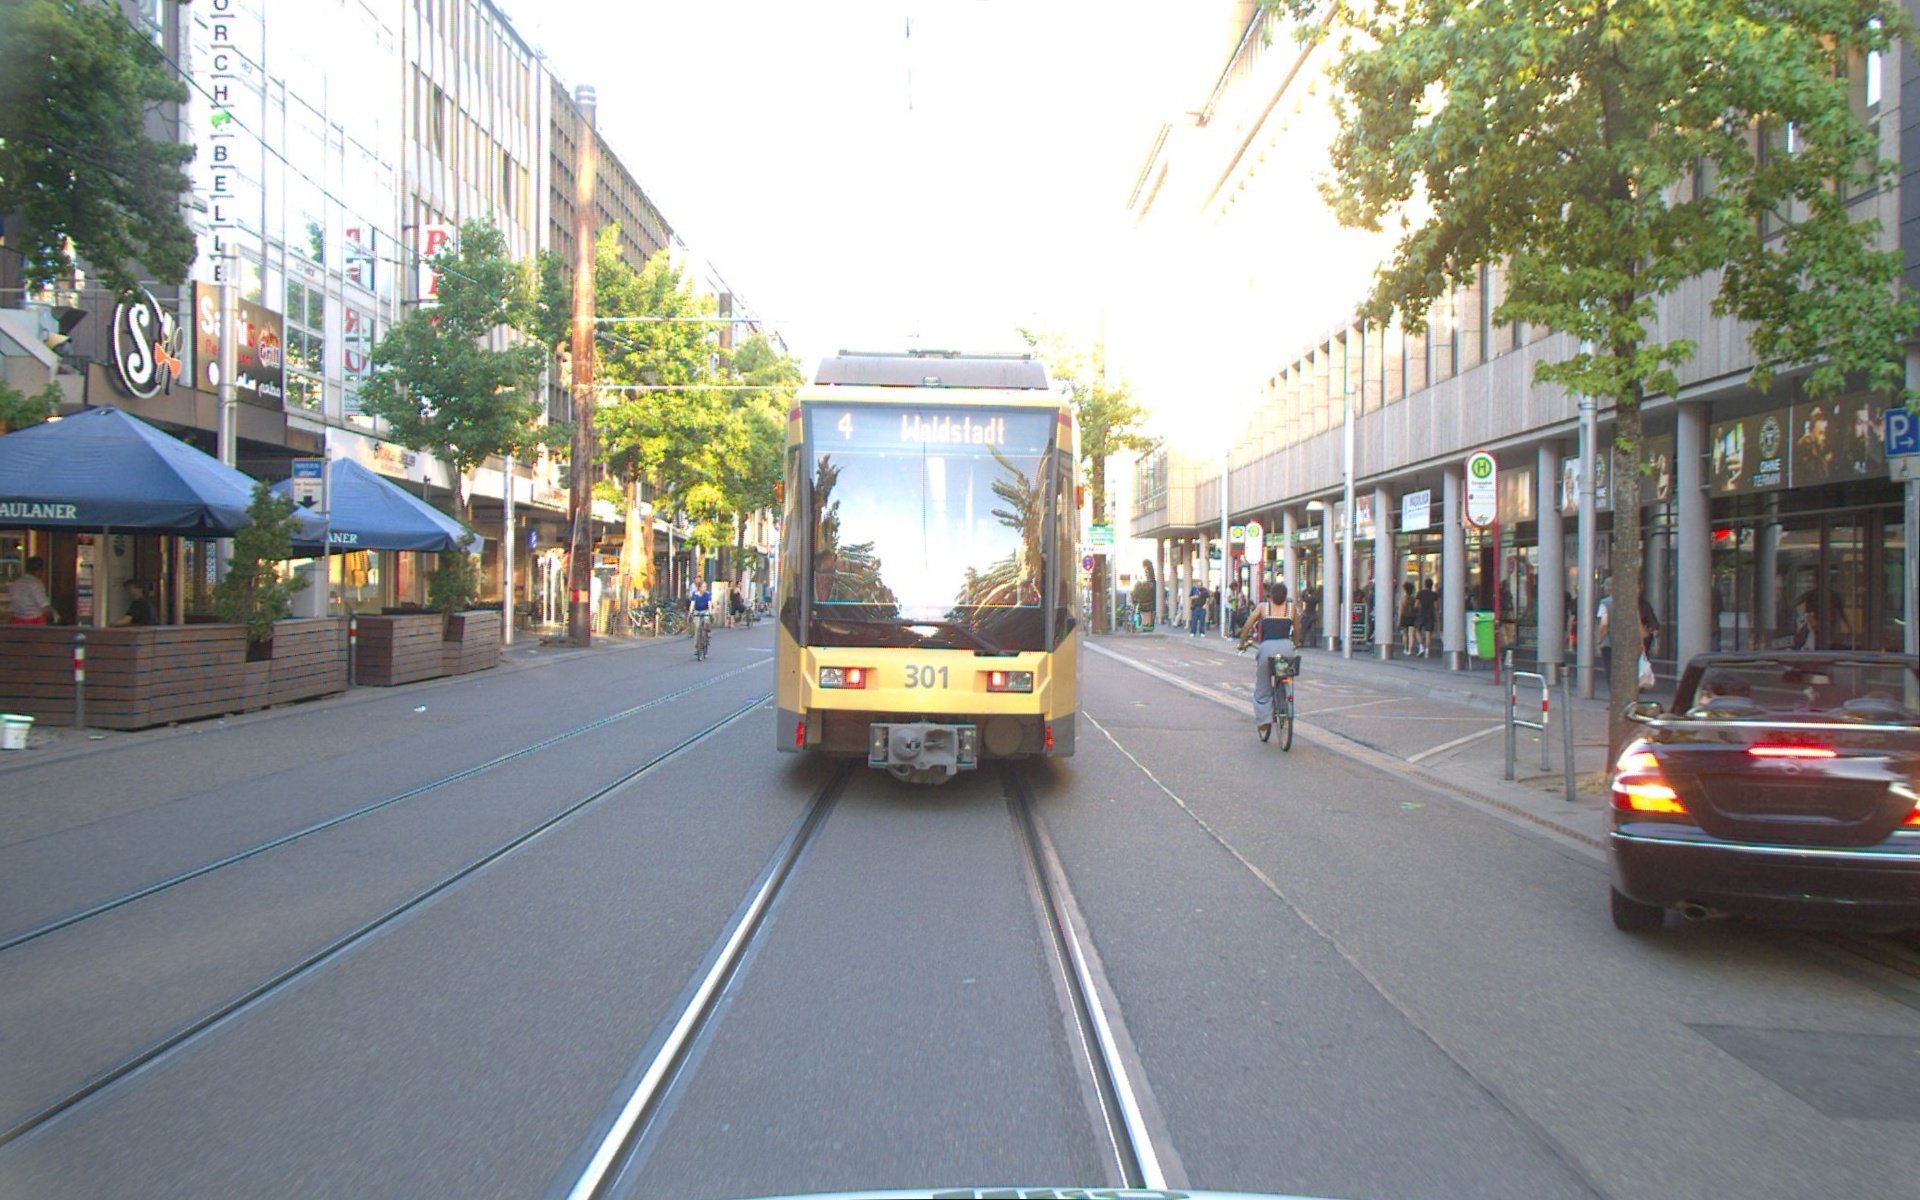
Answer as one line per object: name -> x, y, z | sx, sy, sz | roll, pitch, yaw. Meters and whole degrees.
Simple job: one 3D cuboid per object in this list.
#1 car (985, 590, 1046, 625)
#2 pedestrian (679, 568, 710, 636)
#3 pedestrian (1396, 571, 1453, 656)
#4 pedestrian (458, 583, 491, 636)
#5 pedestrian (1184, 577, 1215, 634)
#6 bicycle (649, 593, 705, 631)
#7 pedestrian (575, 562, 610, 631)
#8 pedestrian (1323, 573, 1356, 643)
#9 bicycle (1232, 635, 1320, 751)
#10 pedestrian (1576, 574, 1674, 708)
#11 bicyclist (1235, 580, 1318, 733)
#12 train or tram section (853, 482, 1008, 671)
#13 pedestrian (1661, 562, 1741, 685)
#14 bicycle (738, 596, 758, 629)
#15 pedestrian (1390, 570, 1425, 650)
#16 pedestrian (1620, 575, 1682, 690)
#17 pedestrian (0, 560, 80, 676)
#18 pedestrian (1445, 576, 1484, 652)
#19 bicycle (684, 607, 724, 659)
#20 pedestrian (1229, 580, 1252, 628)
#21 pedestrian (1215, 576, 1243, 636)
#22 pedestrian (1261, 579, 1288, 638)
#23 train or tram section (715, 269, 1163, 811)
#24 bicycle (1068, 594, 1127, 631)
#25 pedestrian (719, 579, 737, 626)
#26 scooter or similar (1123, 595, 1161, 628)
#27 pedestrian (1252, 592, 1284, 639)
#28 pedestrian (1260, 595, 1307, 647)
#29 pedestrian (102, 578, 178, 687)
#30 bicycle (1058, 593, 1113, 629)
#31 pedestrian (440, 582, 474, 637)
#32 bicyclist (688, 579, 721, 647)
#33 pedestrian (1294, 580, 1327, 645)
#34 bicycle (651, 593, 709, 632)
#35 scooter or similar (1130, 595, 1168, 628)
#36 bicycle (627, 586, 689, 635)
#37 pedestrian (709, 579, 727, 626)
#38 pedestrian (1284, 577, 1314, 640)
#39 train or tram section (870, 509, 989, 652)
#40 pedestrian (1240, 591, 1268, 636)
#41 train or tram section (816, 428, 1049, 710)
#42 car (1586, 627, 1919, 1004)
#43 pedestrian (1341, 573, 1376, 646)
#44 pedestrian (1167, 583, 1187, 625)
car -> 2.711, 0.382, 79.994 | 1.609, 1.622, 3.917 | 1, -1, 24
pedestrian -> -7.616, 0.068, 47.483 | 0.736, 1.912, 0.575 | 3, -1, -5
pedestrian -> 10.798, 0.304, 38.502 | 1.032, 1.909, 0.929 | -1, 1, 0
pedestrian -> -12.615, 0.246, 42.993 | 0.562, 1.342, 0.725 | 3, -1, 0
pedestrian -> 7.750, 0.165, 53.514 | 0.870, 1.813, 0.751 | 1, -1, -2
bicycle -> -9.321, 0.396, 54.506 | 1.699, 1.146, 0.563 | 3, -1, -4
pedestrian -> -11.154, -0.099, 50.197 | 0.831, 2.049, 0.921 | 1, -1, -1
pedestrian -> 10.320, 0.216, 44.999 | 0.687, 1.871, 0.705 | -1, 1, 0
bicycle -> 3.312, 0.945, 17.481 | 0.642, 1.079, 2.058 | 2, 0, 4
pedestrian -> 8.231, 0.494, 20.501 | 0.859, 1.609, 0.755 | 2, 1, -1
bicyclist -> 3.319, 0.584, 17.386 | 0.711, 1.553, 0.734 | 2, -1, 3
train or tram section -> -0.676, -0.474, 37.202 | 2.942, 3.585, 10.842 | 1, 0, -1
pedestrian -> 11.491, 0.347, 25.676 | 0.815, 1.868, 0.944 | -1, 1, 0
bicycle -> -7.745, 0.445, 60.566 | 0.599, 1.146, 2.249 | 3, -1, -6
pedestrian -> 10.801, 0.231, 39.922 | 0.584, 1.871, 0.829 | -1, 1, 0
pedestrian -> 10.162, 0.471, 24.342 | 0.584, 1.644, 0.755 | -1, 1, 0
pedestrian -> -10.583, 0.200, 18.969 | 0.591, 1.278, 0.560 | 3, 0, 1
pedestrian -> 11.134, 0.299, 36.513 | 0.584, 1.644, 0.829 | -1, 1, 0
bicycle -> -5.445, 0.691, 35.239 | 0.628, 1.040, 1.588 | 2, 0, -3
pedestrian -> 10.113, 0.134, 59.582 | 0.687, 1.714, 0.680 | -1, 1, 0
pedestrian -> 8.178, 0.185, 50.315 | 0.733, 1.813, 0.891 | 1, -1, 3
pedestrian -> 10.267, 0.276, 53.947 | 0.687, 1.871, 0.829 | -1, 1, 0
train or tram section -> -0.241, -0.398, 16.202 | 2.955, 3.585, 10.368 | 0, 0, -1
bicycle -> 5.669, 0.526, 68.288 | 2.282, 1.497, 0.790 | 1, -1, -4
pedestrian -> -8.562, 0.092, 60.990 | 0.540, 1.716, 0.575 | 3, -1, -5
scooter or similar -> 7.009, 0.438, 63.765 | 1.354, 1.272, 0.555 | 0, -1, -8
pedestrian -> 9.076, 0.456, 48.764 | 0.789, 1.351, 0.626 | -1, 1, 0
pedestrian -> 8.797, 0.560, 44.991 | 1.089, 1.351, 0.926 | -1, 0, 0
pedestrian -> -10.033, 0.389, 20.240 | 0.547, 1.278, 0.606 | 3, 0, 0
bicycle -> 5.501, 0.487, 72.377 | 2.282, 1.497, 0.790 | 1, -1, -4
pedestrian -> -12.665, 0.243, 41.682 | 0.562, 1.342, 0.725 | 3, -1, 0
bicyclist -> -5.437, 0.276, 35.247 | 0.608, 1.441, 0.699 | 1, -1, -3
pedestrian -> 9.234, 0.322, 43.556 | 0.687, 1.666, 0.646 | -1, 1, 0
bicycle -> -8.811, 0.390, 52.084 | 1.700, 1.146, 0.612 | 3, -1, -7
scooter or similar -> 7.180, 0.441, 62.876 | 1.356, 1.232, 0.513 | 0, -1, -14
bicycle -> -9.179, 0.313, 50.322 | 1.766, 1.384, 0.658 | 3, -1, -13
pedestrian -> -9.014, 0.093, 61.628 | 0.563, 1.716, 0.551 | 3, -1, -11
pedestrian -> 10.301, 0.254, 50.280 | 0.687, 1.871, 0.829 | -1, 1, 0
train or tram section -> -0.889, -0.524, 47.890 | 2.983, 3.585, 10.528 | 2, 0, -1
pedestrian -> 8.982, 0.402, 50.568 | 0.724, 1.351, 0.720 | -1, 1, 0
train or tram section -> -0.463, -0.419, 26.581 | 2.946, 3.585, 10.399 | 1, 0, -1
car -> 4.528, 0.902, 8.762 | 1.767, 1.372, 4.440 | 0, 1, 27
pedestrian -> 10.449, 0.231, 43.419 | 0.687, 1.871, 0.829 | -1, 1, 0
pedestrian -> 8.950, 0.155, 68.177 | 0.687, 1.714, 0.680 | -1, 1, 0
